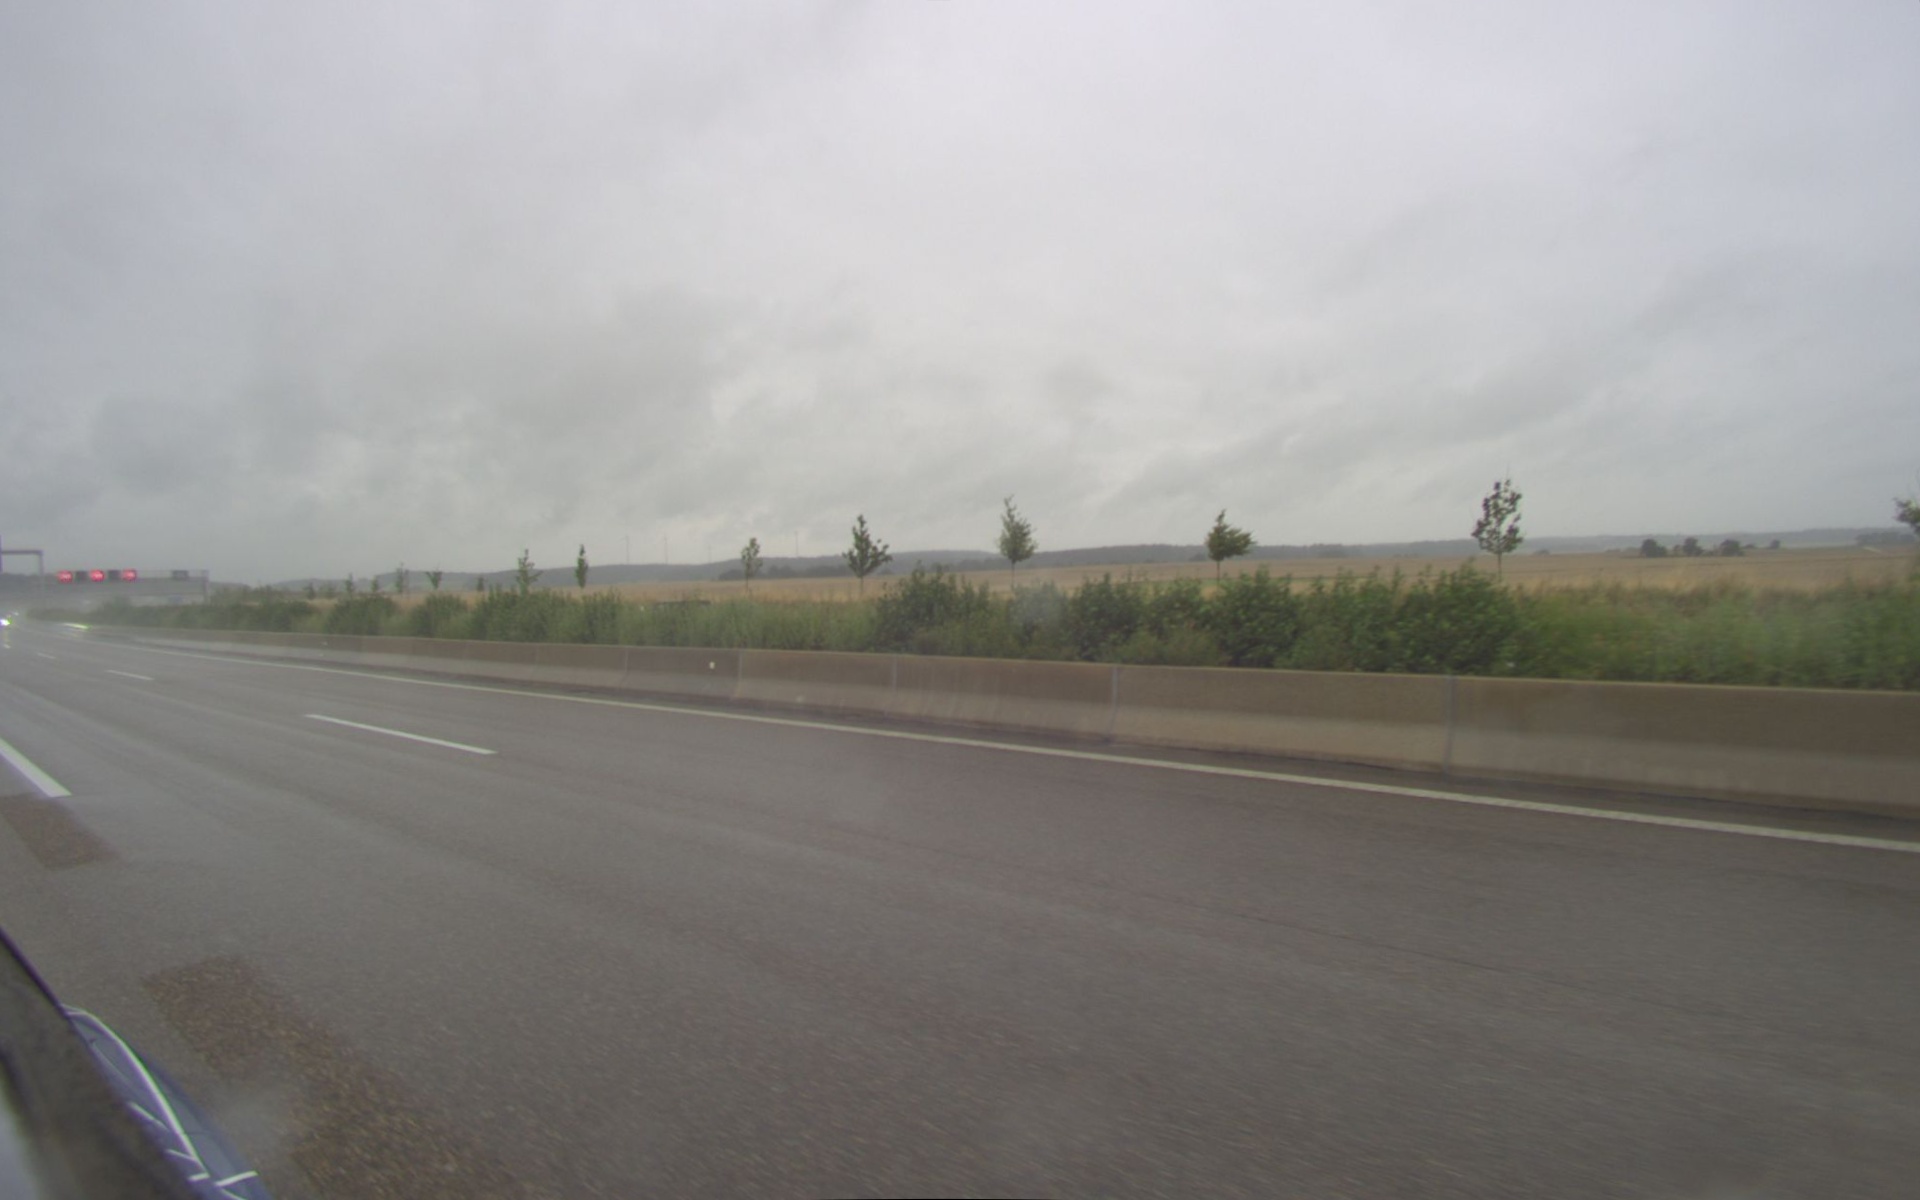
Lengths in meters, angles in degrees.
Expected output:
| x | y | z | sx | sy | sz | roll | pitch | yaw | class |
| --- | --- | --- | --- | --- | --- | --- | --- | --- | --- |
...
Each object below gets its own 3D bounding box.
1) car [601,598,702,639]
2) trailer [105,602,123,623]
| x | y | z | sx | sy | sz | roll | pitch | yaw | class |
| --- | --- | --- | --- | --- | --- | --- | --- | --- | --- |
| -12.138 | 0.722 | 39.733 | 3.999 | 1.497 | 1.973 | -1 | 0 | 42 | car |
| -170.844 | 2.587 | 204.258 | 1.970 | 4.070 | 14.316 | 0 | -1 | -43 | trailer |
